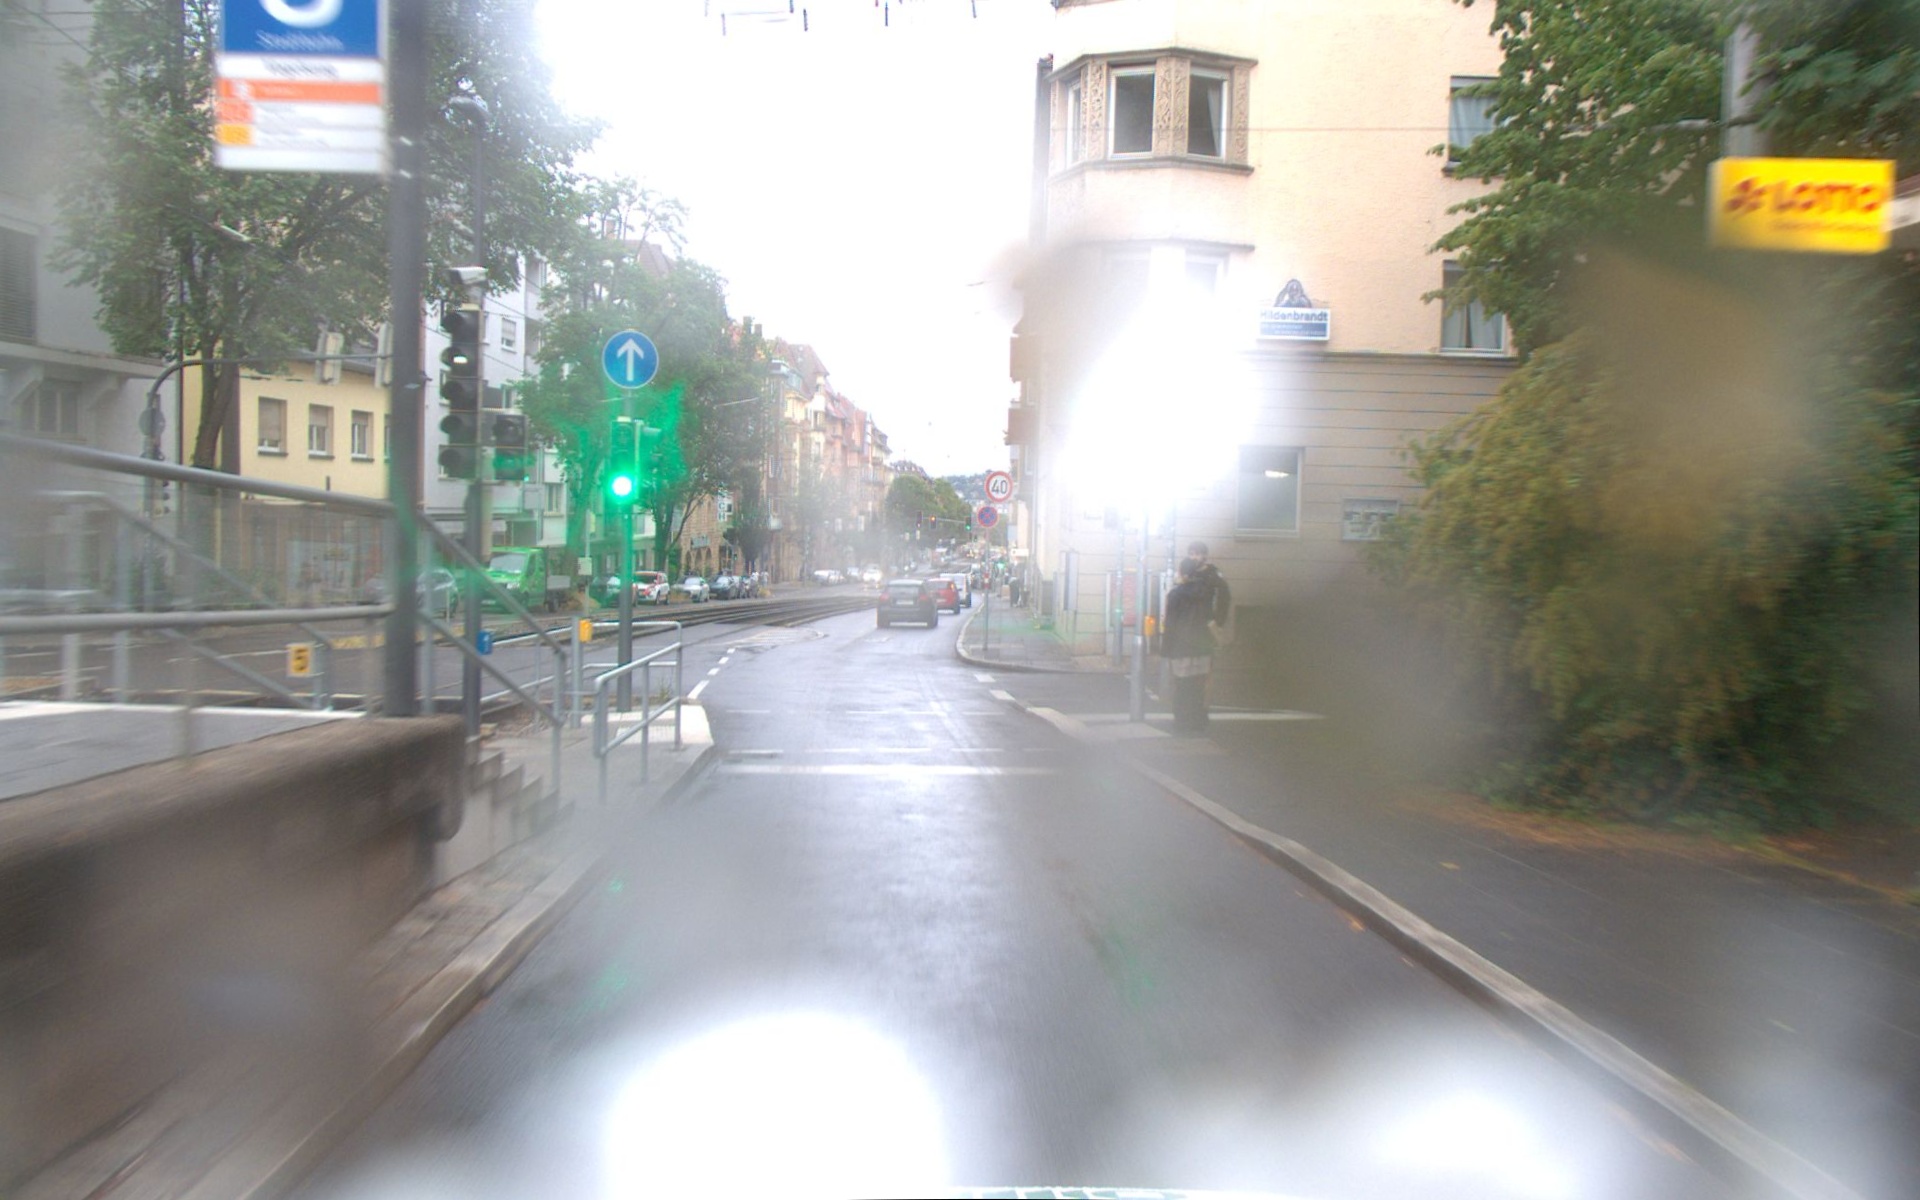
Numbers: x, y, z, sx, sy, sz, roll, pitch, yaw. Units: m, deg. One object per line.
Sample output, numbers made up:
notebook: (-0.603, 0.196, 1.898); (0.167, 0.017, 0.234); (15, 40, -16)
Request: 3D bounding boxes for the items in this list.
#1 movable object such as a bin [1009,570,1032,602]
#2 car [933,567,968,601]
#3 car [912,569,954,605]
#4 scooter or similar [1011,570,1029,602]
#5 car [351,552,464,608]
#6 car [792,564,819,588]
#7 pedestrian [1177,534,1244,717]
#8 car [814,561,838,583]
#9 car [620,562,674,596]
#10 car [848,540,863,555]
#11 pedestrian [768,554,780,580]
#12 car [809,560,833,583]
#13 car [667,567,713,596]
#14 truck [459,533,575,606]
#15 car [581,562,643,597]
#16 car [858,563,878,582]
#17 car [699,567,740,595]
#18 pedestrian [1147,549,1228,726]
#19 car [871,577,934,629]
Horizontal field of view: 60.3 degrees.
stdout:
movable object such as a bin: (3.236, -0.760, 88.420); (1.144, 1.684, 1.309); (-1, 1, -3)
car: (-0.554, -0.896, 93.873); (1.909, 1.824, 4.143); (1, 0, -1)
car: (-1.205, -0.575, 74.155); (1.814, 1.499, 3.999); (1, 0, -1)
scooter or similar: (3.153, -0.730, 86.913); (0.900, 1.632, 0.862); (1, 1, -3)
car: (-16.244, -0.610, 48.865); (1.690, 1.542, 4.497); (1, 1, 2)
car: (-13.666, -2.107, 146.476); (1.953, 2.049, 4.346); (-1, 0, 0)
pedestrian: (2.585, 0.260, 17.084); (0.542, 1.845, 0.650); (1, 0, -2)
car: (-13.062, -2.694, 161.545); (1.953, 2.049, 4.346); (-1, 0, 0)
car: (-15.161, -1.016, 80.183); (1.736, 1.573, 4.256); (-1, 1, 1)
car: (-15.118, -7.553, 239.359); (1.953, 2.049, 4.000); (1, 1, 0)
pedestrian: (-14.872, -2.671, 132.216); (0.854, 2.049, 0.704); (-1, 0, -1)
car: (-13.138, -2.693, 156.500); (1.953, 2.049, 4.346); (-1, 0, 0)
car: (-14.913, -1.006, 91.620); (1.736, 1.514, 4.256); (-1, 0, 1)
truck: (-15.703, -1.046, 59.017); (2.008, 2.435, 6.324); (1, 0, 4)
car: (-15.309, -0.891, 72.937); (1.736, 1.478, 4.255); (-1, 0, 1)
car: (-10.156, -3.062, 183.344); (1.953, 2.049, 4.346); (1, 1, 0)
car: (-14.547, -1.134, 100.304); (1.736, 1.647, 4.256); (-1, 1, 1)
pedestrian: (2.253, 0.364, 16.460); (0.681, 1.724, 0.555); (1, 0, -2)
car: (-1.736, 0.052, 51.043); (1.814, 1.499, 4.000); (1, 1, 0)
